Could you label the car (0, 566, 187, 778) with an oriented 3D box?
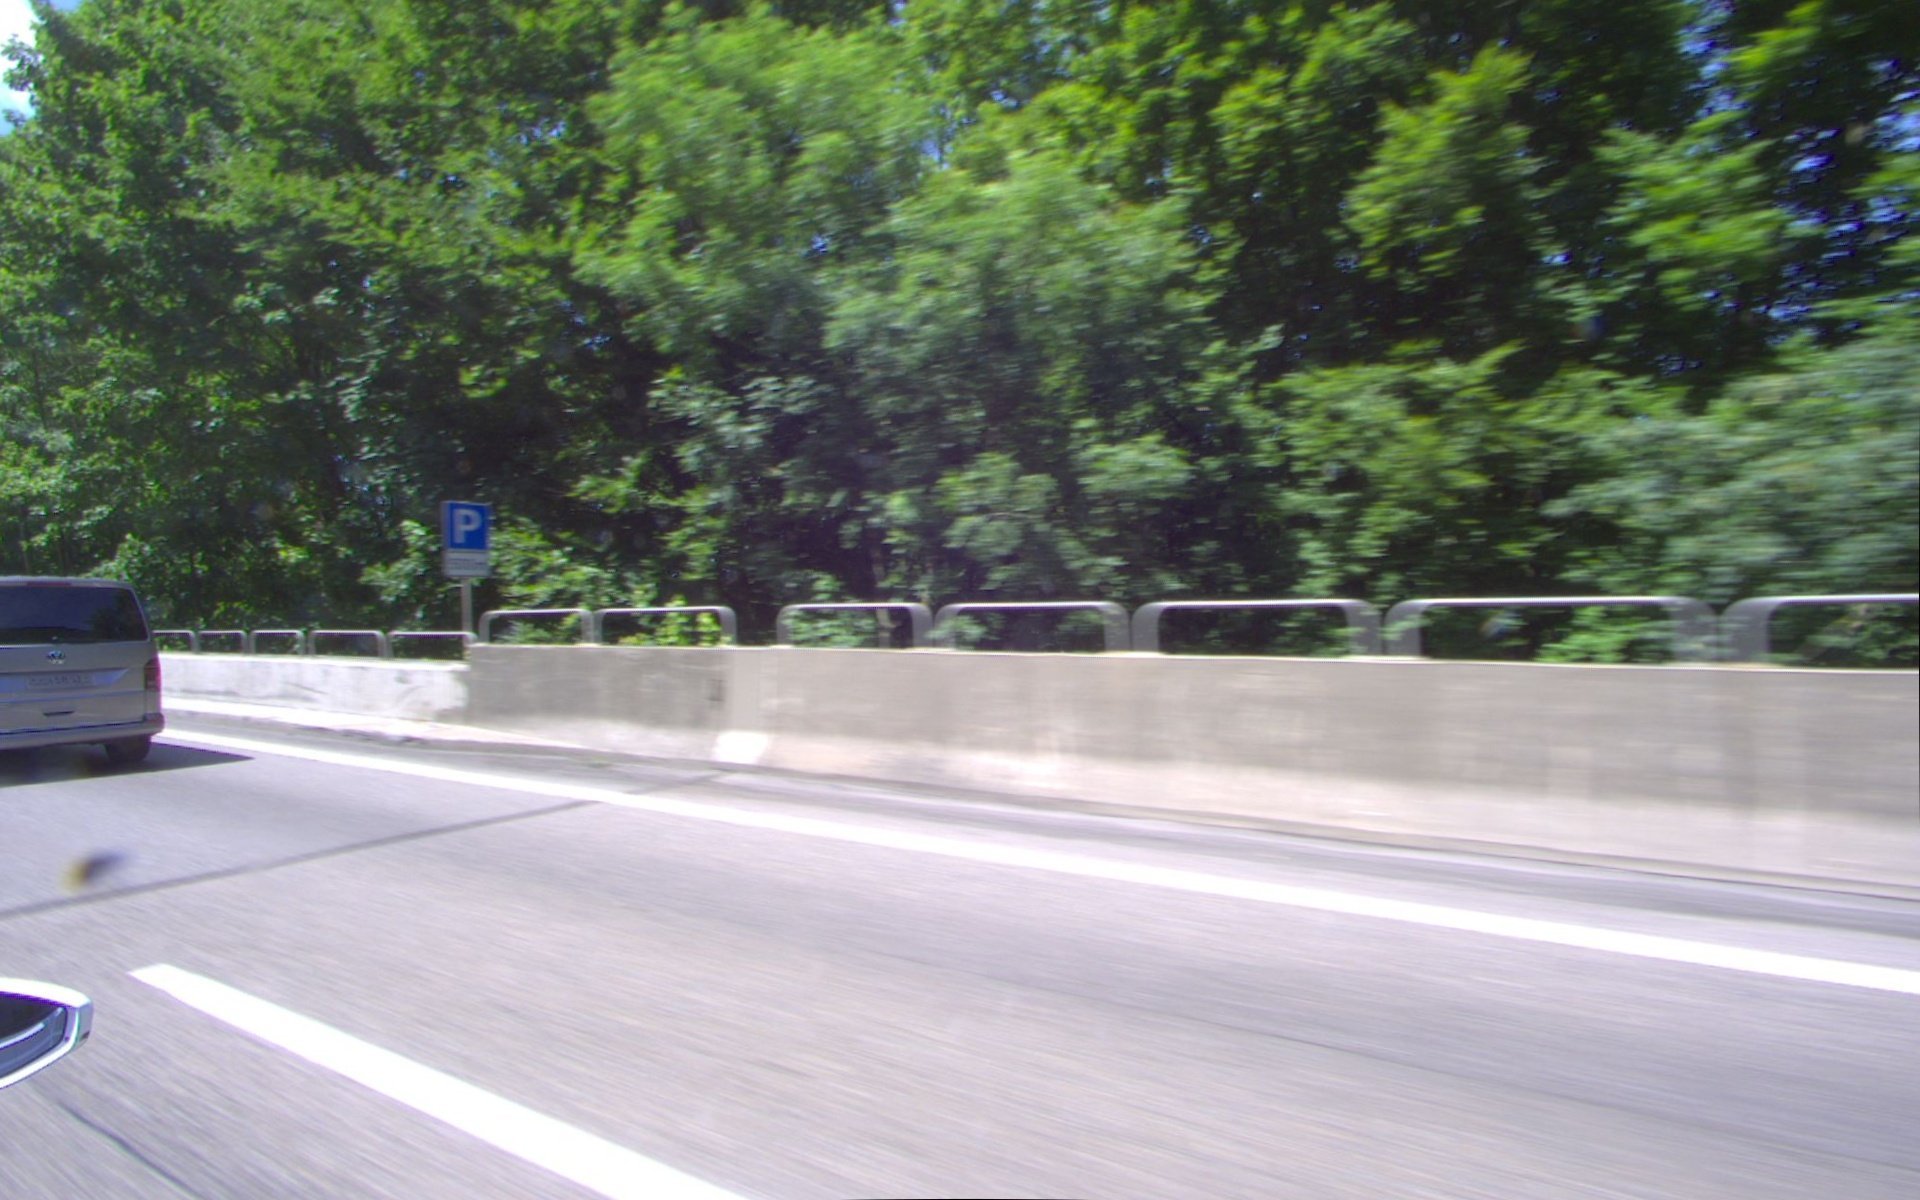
[{"bbox_3d":[-10.553,0.704,10.911,4.628,1.956,1.937,-1,-1,33],"label":"car"}]
